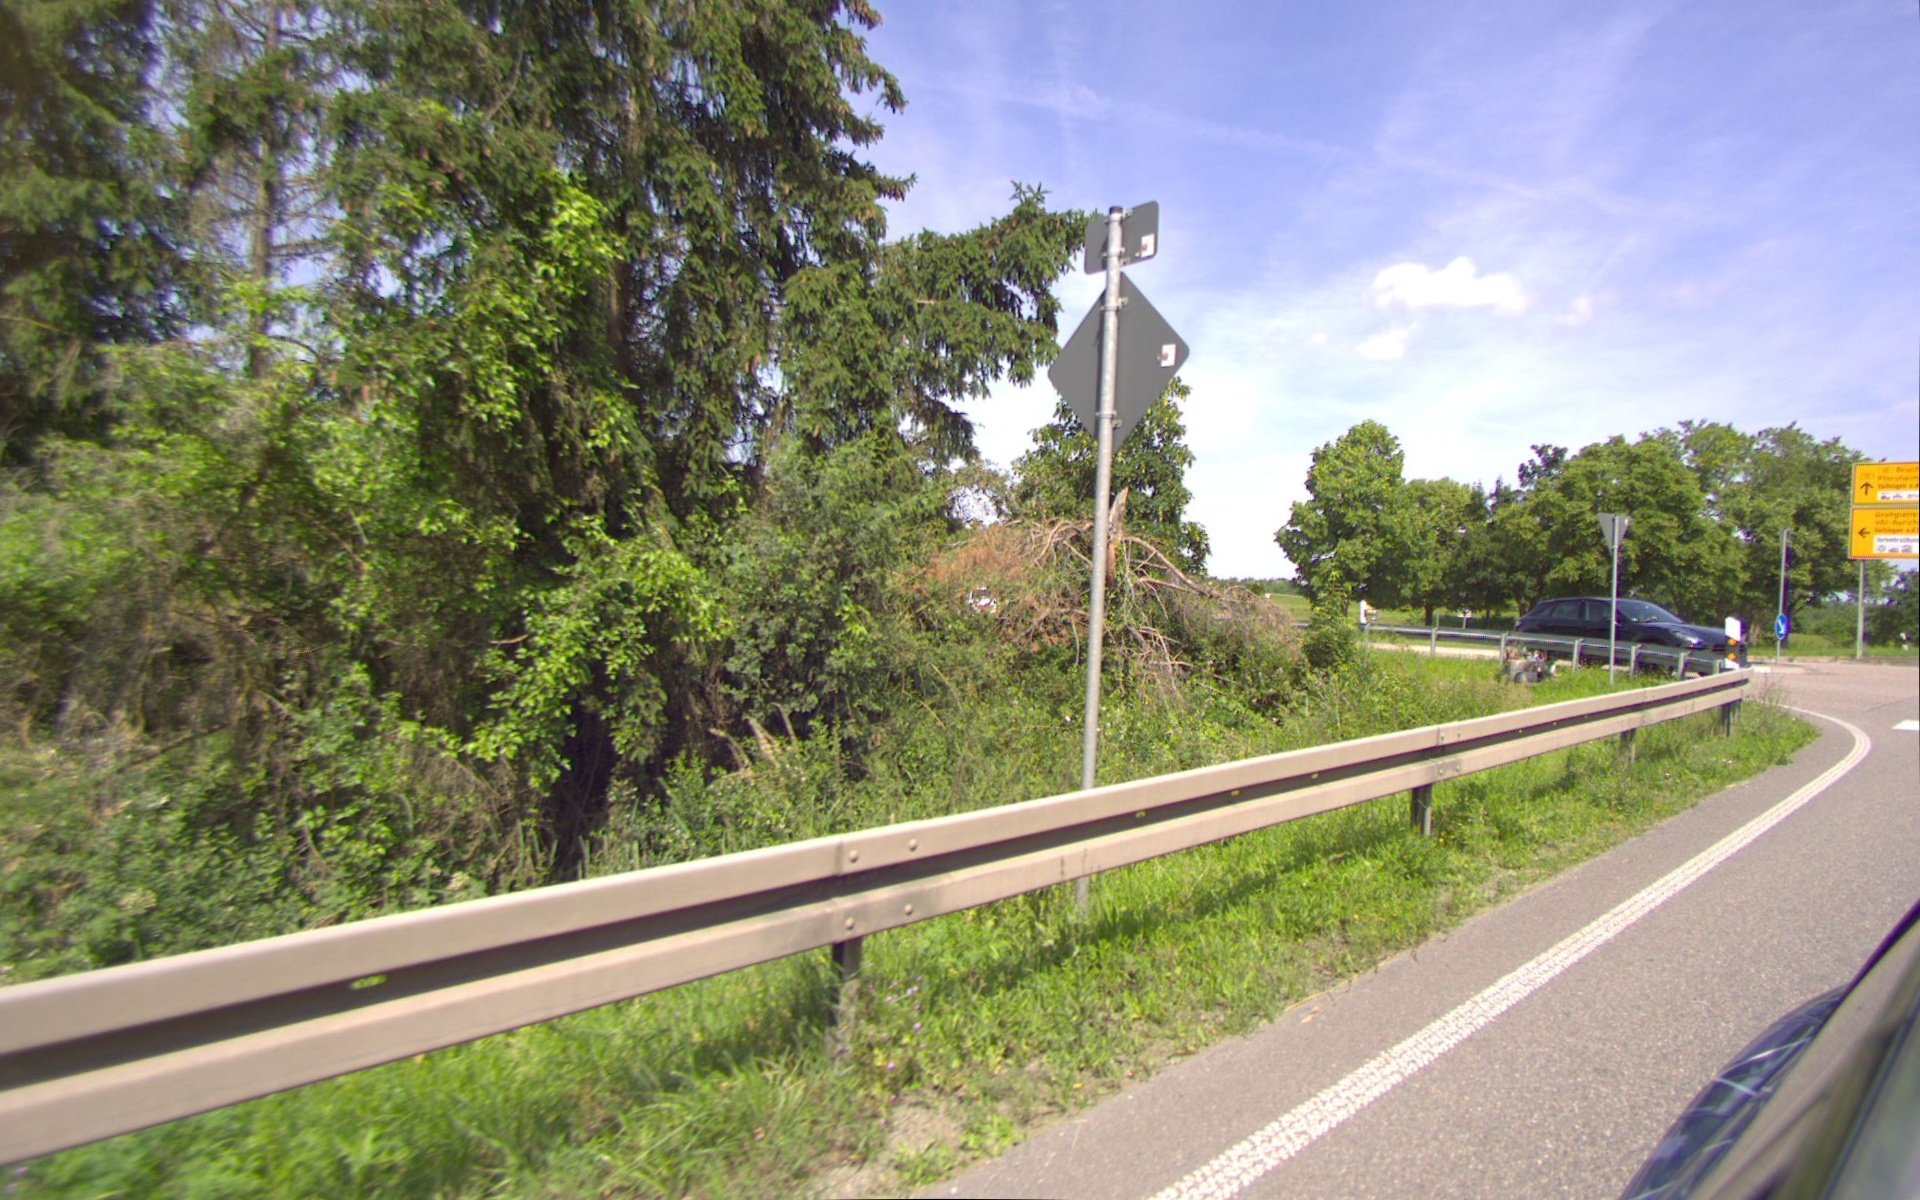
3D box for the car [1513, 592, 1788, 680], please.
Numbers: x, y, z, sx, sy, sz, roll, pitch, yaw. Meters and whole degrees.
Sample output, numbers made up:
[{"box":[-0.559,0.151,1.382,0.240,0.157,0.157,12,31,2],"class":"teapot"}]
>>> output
[{"box":[14.292,0.677,21.310,2.020,1.610,4.439,1,0,-19],"class":"car"}]
